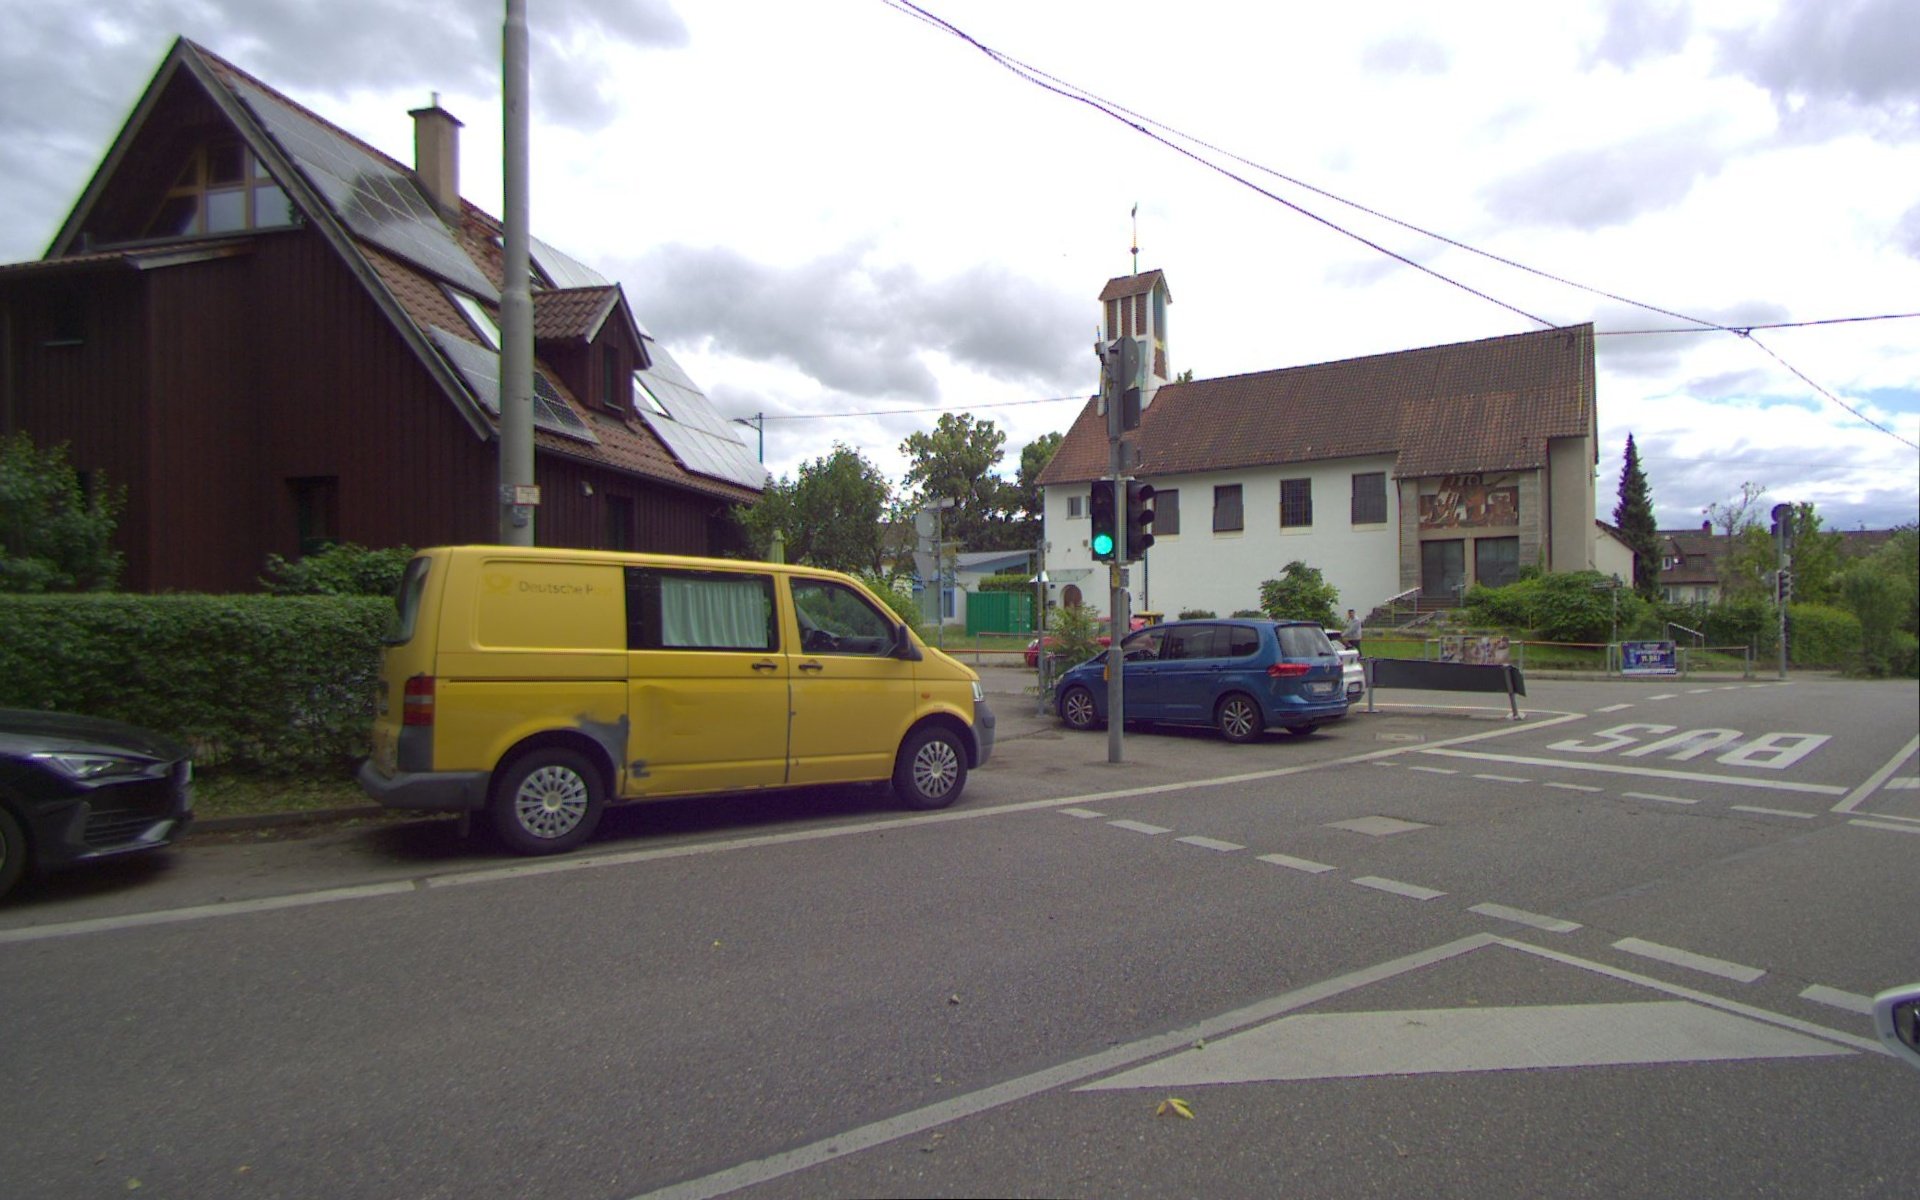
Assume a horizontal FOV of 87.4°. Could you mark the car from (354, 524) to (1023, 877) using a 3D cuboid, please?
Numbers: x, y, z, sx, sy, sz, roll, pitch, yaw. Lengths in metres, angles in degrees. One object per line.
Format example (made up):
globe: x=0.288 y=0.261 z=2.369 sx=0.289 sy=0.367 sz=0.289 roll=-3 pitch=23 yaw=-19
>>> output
car: x=-1.926 y=0.653 z=7.928 sx=4.754 sy=2.015 sz=1.903 roll=2 pitch=-2 yaw=-36

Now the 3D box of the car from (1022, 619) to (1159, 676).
car: x=3.660 y=1.300 z=28.005 sx=3.610 sy=1.509 sz=1.776 roll=-1 pitch=-1 yaw=14

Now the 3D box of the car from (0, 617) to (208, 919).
car: x=-6.525 y=0.795 z=4.811 sx=4.462 sy=1.469 sz=1.737 roll=2 pitch=-2 yaw=-31

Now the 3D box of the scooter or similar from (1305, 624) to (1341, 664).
scooter or similar: x=10.639 y=1.282 z=29.455 sx=0.871 sy=1.109 sz=0.613 roll=2 pitch=0 yaw=9

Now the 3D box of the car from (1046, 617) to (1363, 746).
car: x=3.372 y=1.045 z=14.433 sx=1.832 sy=1.567 sz=4.127 roll=0 pitch=-1 yaw=-42

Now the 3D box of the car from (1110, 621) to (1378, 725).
car: x=4.598 y=1.117 z=16.566 sx=3.850 sy=1.491 sz=1.835 roll=-2 pitch=-1 yaw=43

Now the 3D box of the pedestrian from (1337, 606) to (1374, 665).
pedestrian: x=11.531 y=1.030 z=29.323 sx=0.814 sy=1.674 sz=0.690 roll=2 pitch=0 yaw=8
